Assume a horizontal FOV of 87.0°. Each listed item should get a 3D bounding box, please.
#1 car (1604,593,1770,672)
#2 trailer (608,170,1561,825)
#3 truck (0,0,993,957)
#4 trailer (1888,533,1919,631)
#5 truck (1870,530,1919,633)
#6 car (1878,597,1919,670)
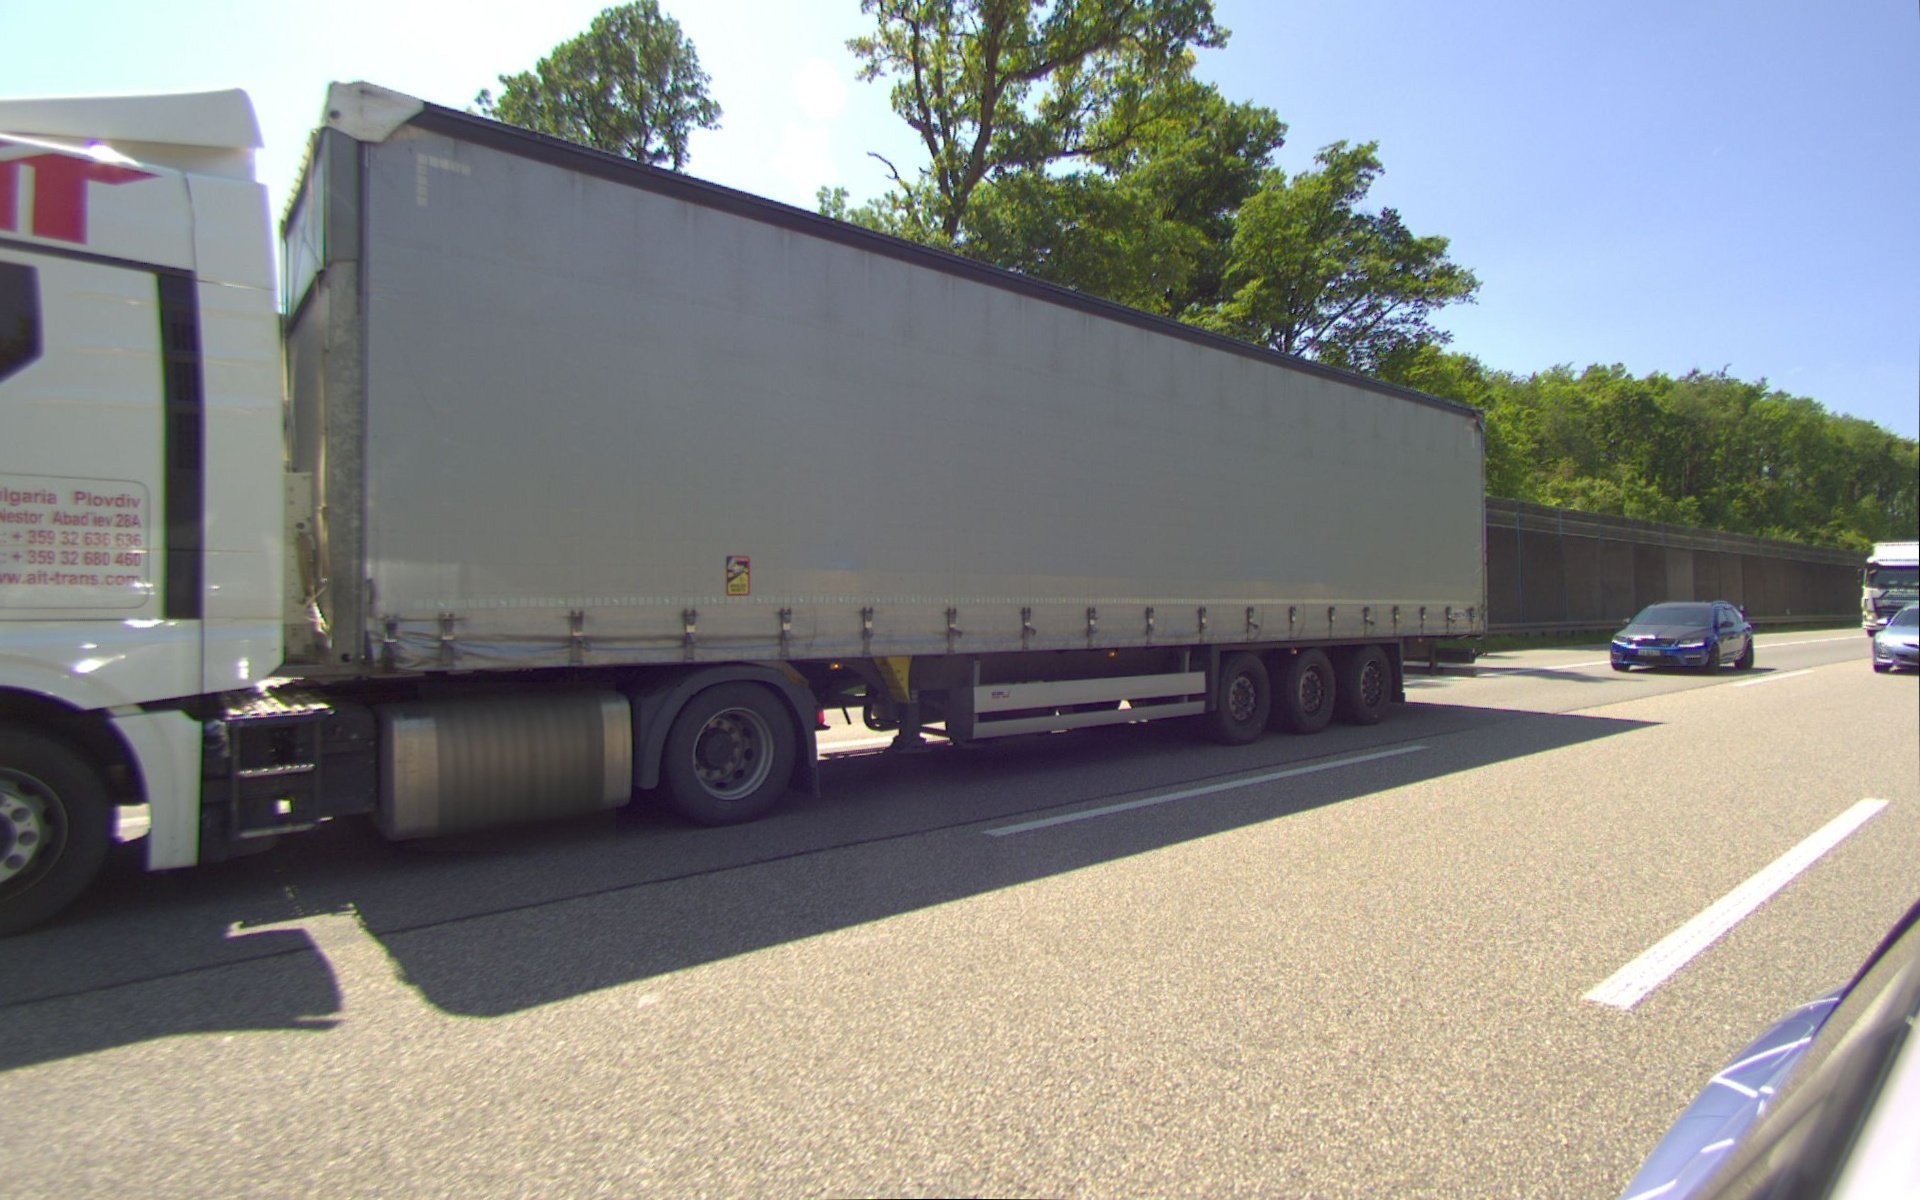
[{"bbox_3d":[15.413,0.624,21.388,4.102,1.512,1.859,0,-1,-40],"label":"car"},{"bbox_3d":[3.002,-0.731,11.722,13.352,4.142,2.603,-1,0,-40],"label":"trailer"},{"bbox_3d":[-2.665,-0.662,6.871,5.455,4.142,2.603,-1,0,-41],"label":"truck"},{"bbox_3d":[47.294,-0.790,47.848,13.217,4.269,2.821,0,-1,-38],"label":"trailer"},{"bbox_3d":[41.609,-0.771,43.442,5.321,4.269,2.812,0,-1,-38],"label":"truck"},{"bbox_3d":[20.873,0.656,21.193,4.102,1.452,1.859,0,-1,-40],"label":"car"}]
